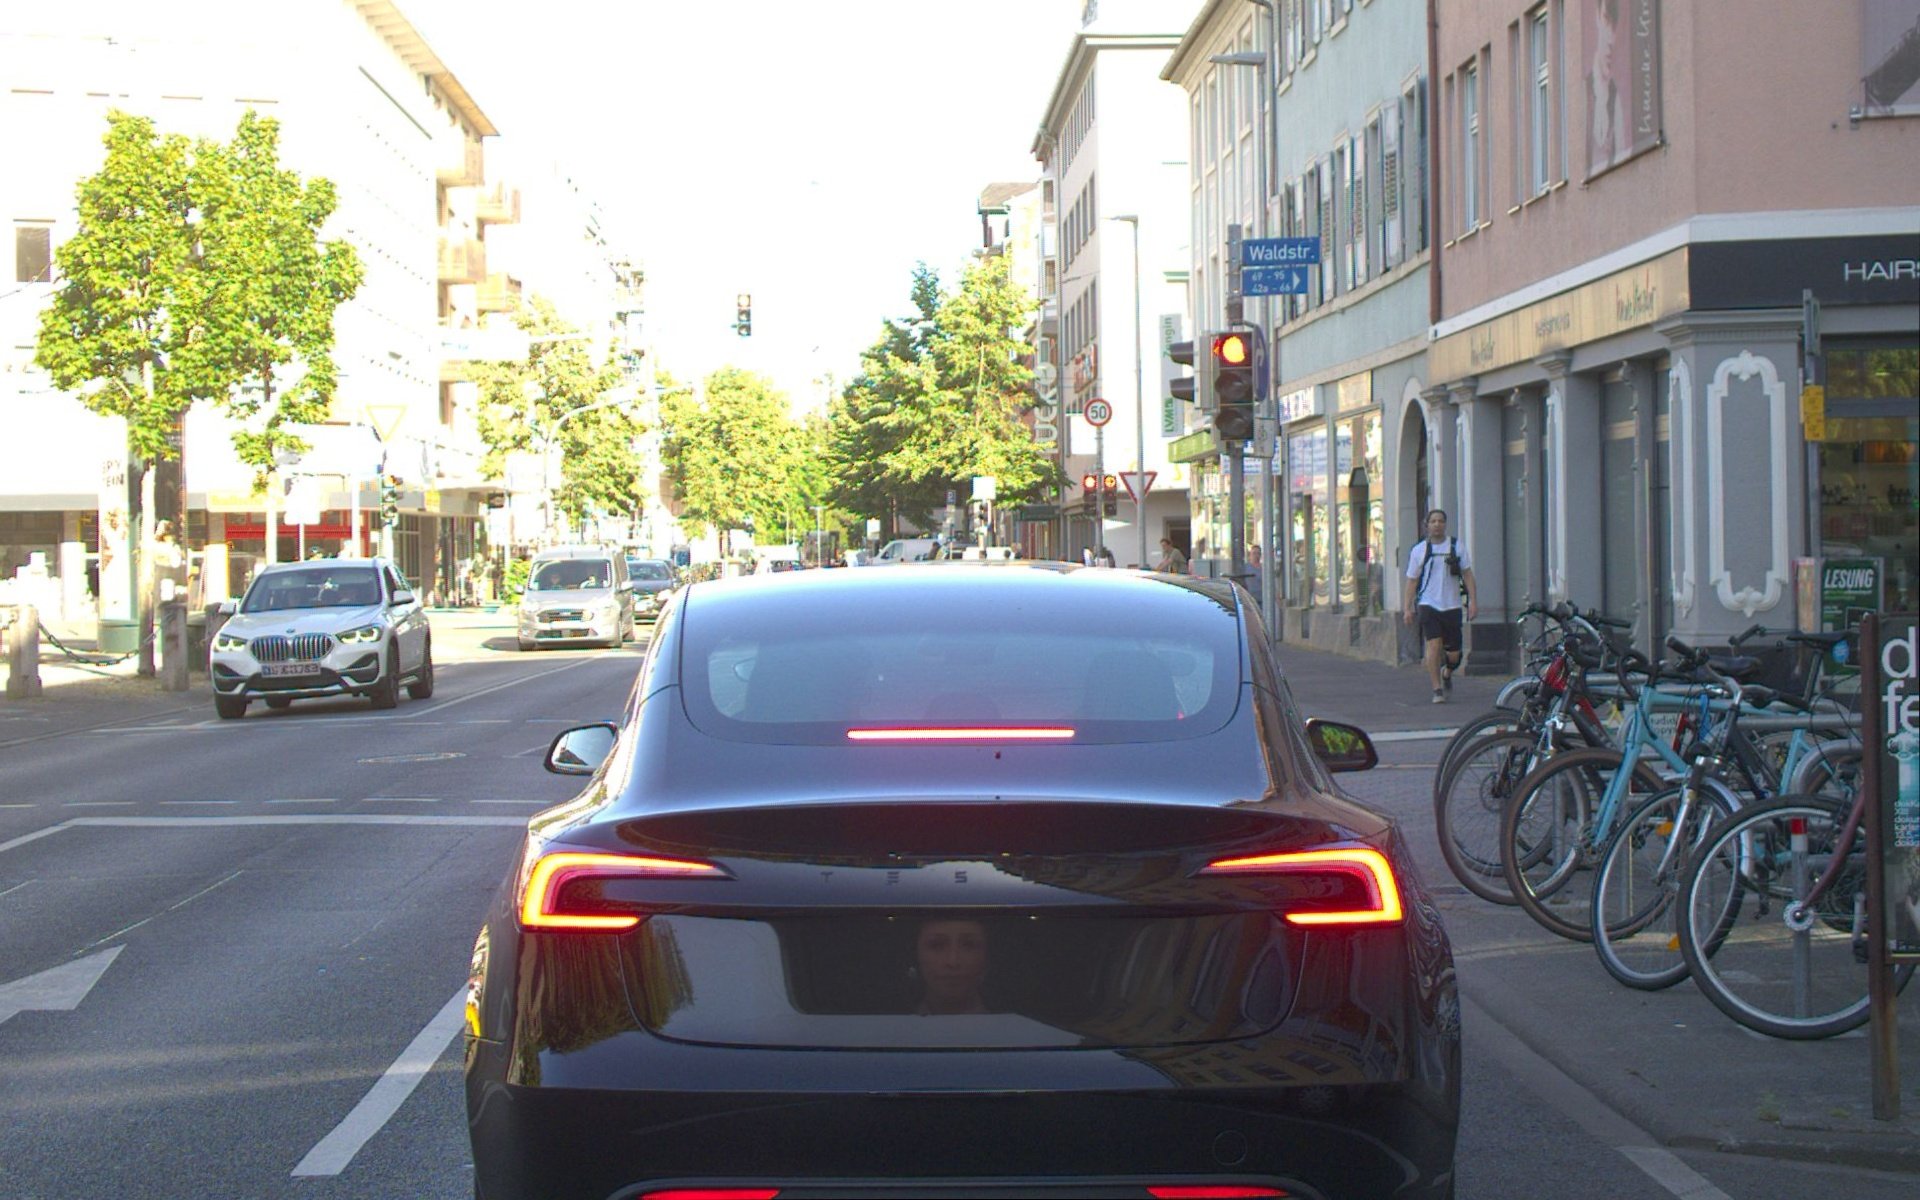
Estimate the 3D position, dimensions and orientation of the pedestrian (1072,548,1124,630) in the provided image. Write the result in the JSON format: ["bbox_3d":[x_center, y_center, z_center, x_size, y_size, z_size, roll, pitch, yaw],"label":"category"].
[{"bbox_3d":[2.783,-0.230,69.287,0.754,1.626,0.956,1,0,-18],"label":"pedestrian"}]

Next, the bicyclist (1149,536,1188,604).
[{"bbox_3d":[4.330,-0.622,71.357,0.669,1.390,0.462,1,0,-16],"label":"bicyclist"}]

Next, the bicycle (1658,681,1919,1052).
[{"bbox_3d":[3.014,0.753,9.984,1.873,1.034,0.353,-2,0,6],"label":"bicycle"}]

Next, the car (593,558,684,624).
[{"bbox_3d":[-7.275,-0.225,78.058,1.715,1.441,3.845,1,1,-1],"label":"car"}]

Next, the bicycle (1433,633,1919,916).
[{"bbox_3d":[2.853,0.685,13.642,1.873,1.034,0.547,-2,0,5],"label":"bicycle"}]

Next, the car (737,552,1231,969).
[{"bbox_3d":[0.016,0.532,13.836,1.718,1.420,3.758,0,1,-2],"label":"car"}]

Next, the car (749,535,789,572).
[{"bbox_3d":[-10.341,-2.525,186.442,1.993,2.007,4.000,0,1,-1],"label":"car"}]

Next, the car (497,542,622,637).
[{"bbox_3d":[-7.138,-0.219,61.617,1.787,1.640,4.403,0,1,-1],"label":"car"}]

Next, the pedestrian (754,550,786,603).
[{"bbox_3d":[-6.032,-0.751,109.055,0.715,1.689,0.851,0,1,-28],"label":"pedestrian"}]

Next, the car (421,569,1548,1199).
[{"bbox_3d":[0.018,0.655,7.563,1.822,1.437,4.000,0,1,-1],"label":"car"}]

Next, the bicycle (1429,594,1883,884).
[{"bbox_3d":[2.969,0.589,14.764,1.828,1.165,0.505,-2,0,5],"label":"bicycle"}]

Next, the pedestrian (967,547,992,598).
[{"bbox_3d":[0.544,-0.775,95.728,0.472,1.412,0.522,1,0,-31],"label":"pedestrian"}]

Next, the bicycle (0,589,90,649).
[{"bbox_3d":[-14.831,0.302,54.645,1.864,0.931,0.606,0,1,-1],"label":"bicycle"}]

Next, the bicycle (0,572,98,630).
[{"bbox_3d":[-20.784,0.015,77.921,2.361,1.291,0.513,1,0,-26],"label":"bicycle"}]

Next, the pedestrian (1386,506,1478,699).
[{"bbox_3d":[4.397,0.020,32.060,0.750,1.759,0.836,-1,0,4],"label":"pedestrian"}]

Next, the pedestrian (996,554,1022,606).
[{"bbox_3d":[1.359,-0.561,95.123,0.521,1.417,0.479,1,0,-30],"label":"pedestrian"}]

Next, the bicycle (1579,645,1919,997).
[{"bbox_3d":[2.999,0.699,11.172,1.873,1.084,0.414,-2,0,4],"label":"bicycle"}]

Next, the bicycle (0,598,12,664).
[{"bbox_3d":[-14.741,0.434,49.761,1.864,0.931,0.606,1,0,-1],"label":"bicycle"}]

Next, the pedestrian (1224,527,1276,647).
[{"bbox_3d":[4.245,-0.194,50.300,0.706,1.736,0.540,0,1,-1],"label":"pedestrian"}]

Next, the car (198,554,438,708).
[{"bbox_3d":[-6.676,0.290,36.125,1.789,1.455,3.757,-2,1,0],"label":"car"}]

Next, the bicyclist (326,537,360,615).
[{"bbox_3d":[-11.871,-0.459,66.107,0.522,1.498,0.476,1,0,-24],"label":"bicyclist"}]

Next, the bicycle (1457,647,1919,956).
[{"bbox_3d":[2.780,0.717,12.441,1.873,1.034,0.533,-2,0,4],"label":"bicycle"}]

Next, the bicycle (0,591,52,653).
[{"bbox_3d":[-14.803,0.327,52.197,1.864,0.931,0.606,0,1,-1],"label":"bicycle"}]

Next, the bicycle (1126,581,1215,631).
[{"bbox_3d":[4.372,0.125,71.379,1.784,1.003,0.472,1,0,-16],"label":"bicycle"}]

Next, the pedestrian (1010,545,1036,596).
[{"bbox_3d":[1.749,-0.820,95.828,0.521,1.417,0.479,1,0,-30],"label":"pedestrian"}]
